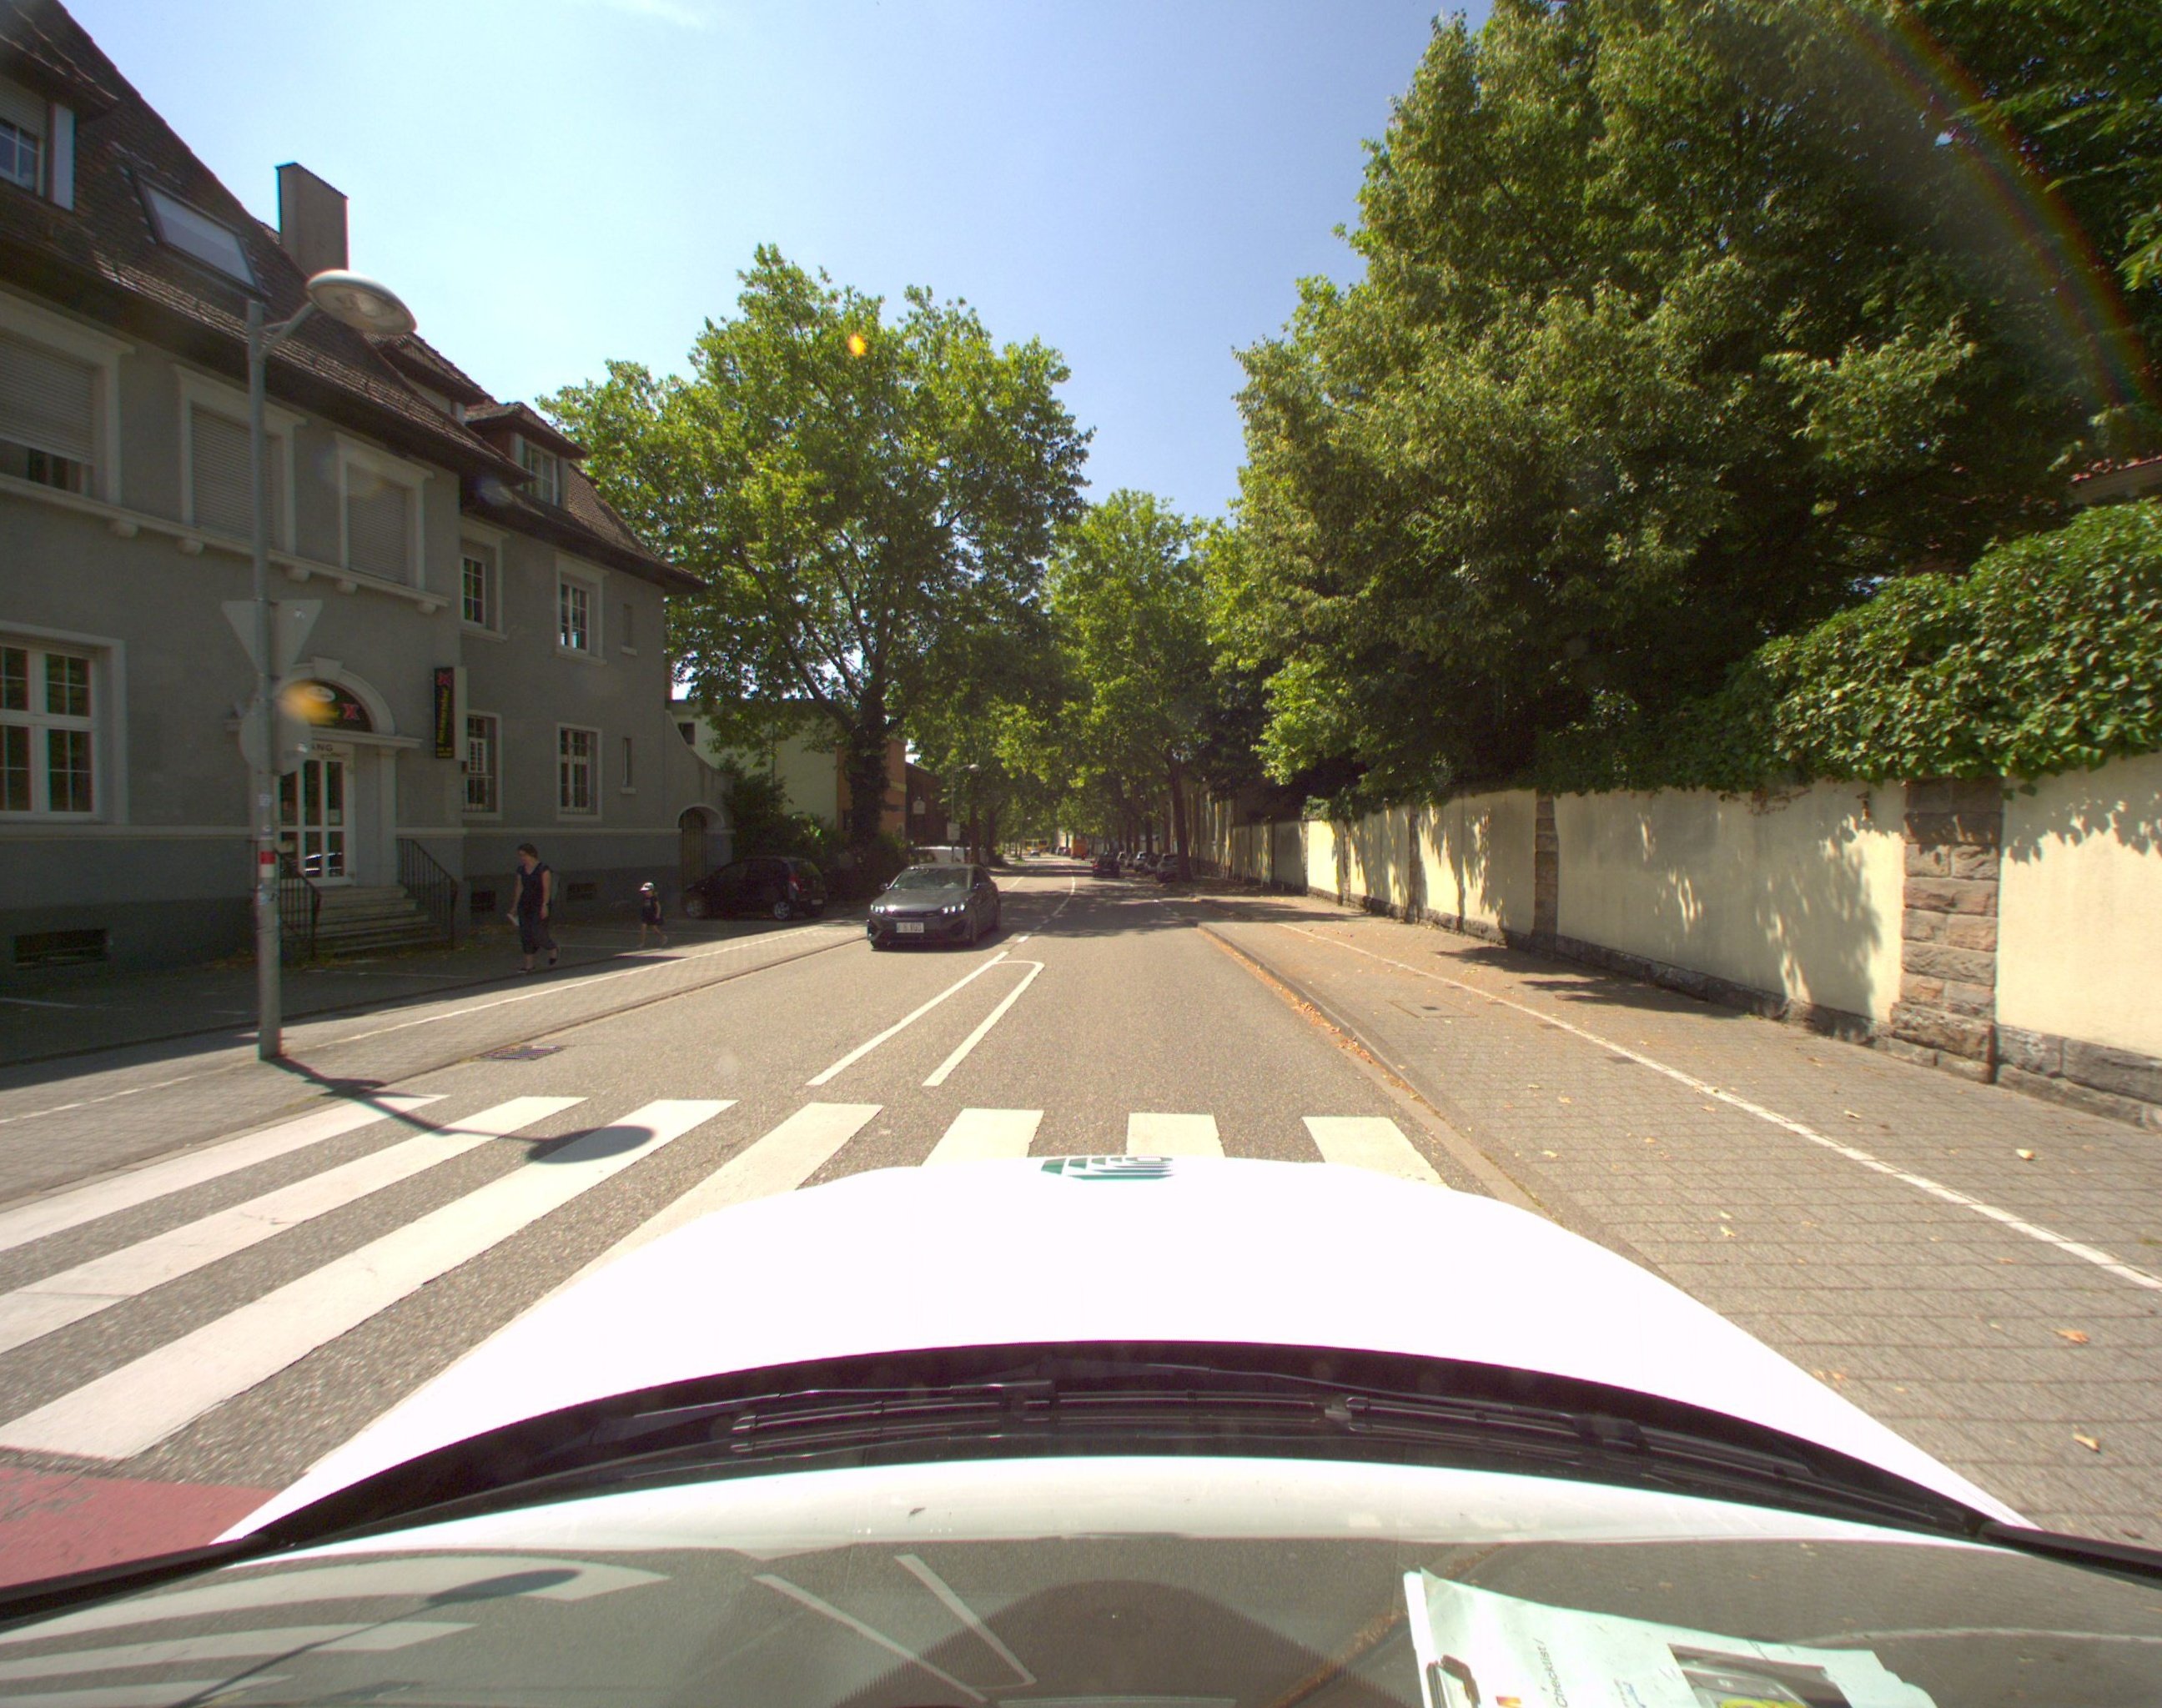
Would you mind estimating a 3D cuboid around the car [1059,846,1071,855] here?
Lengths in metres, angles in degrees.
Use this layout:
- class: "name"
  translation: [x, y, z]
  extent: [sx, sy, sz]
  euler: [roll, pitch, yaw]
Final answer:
- class: "car"
  translation: [-2.996, -0.628, 152.551]
  extent: [1.878, 1.686, 3.989]
  euler: [0, -1, -7]

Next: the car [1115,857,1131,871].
- class: "car"
  translation: [4.782, 1.148, 93.449]
  extent: [1.573, 1.466, 3.873]
  euler: [-1, 0, -1]

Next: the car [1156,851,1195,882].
- class: "car"
  translation: [5.174, 0.645, 45.089]
  extent: [1.735, 1.557, 4.782]
  euler: [-2, 1, 1]

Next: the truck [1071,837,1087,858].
- class: "truck"
  translation: [-0.329, -0.915, 126.425]
  extent: [2.364, 3.134, 5.764]
  euler: [0, -1, -2]

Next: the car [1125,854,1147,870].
- class: "car"
  translation: [5.313, 0.724, 78.929]
  extent: [1.762, 1.433, 3.873]
  euler: [-1, 0, -1]

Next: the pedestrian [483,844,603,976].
- class: "pedestrian"
  translation: [-7.421, 0.739, 11.298]
  extent: [0.867, 1.742, 1.114]
  euler: [0, 0, 6]

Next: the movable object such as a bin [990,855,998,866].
- class: "movable object such as a bin"
  translation: [-8.852, 0.638, 82.740]
  extent: [0.732, 1.078, 0.701]
  euler: [0, 0, -1]

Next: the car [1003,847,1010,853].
- class: "car"
  translation: [-19.317, -0.971, 209.953]
  extent: [1.709, 1.447, 4.048]
  euler: [-1, 0, -7]

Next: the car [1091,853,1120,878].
- class: "car"
  translation: [1.549, 0.719, 52.432]
  extent: [1.706, 1.447, 4.057]
  euler: [0, 1, -1]

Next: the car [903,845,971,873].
- class: "car"
  translation: [-9.948, 0.350, 56.486]
  extent: [4.413, 1.804, 1.901]
  euler: [2, 0, -3]

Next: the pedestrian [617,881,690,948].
- class: "pedestrian"
  translation: [-7.529, 1.046, 14.378]
  extent: [0.750, 1.122, 0.899]
  euler: [0, 0, 6]

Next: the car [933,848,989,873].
- class: "car"
  translation: [-9.469, 0.490, 64.600]
  extent: [4.119, 1.804, 1.901]
  euler: [2, 0, -3]

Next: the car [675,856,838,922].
- class: "car"
  translation: [-8.079, 0.834, 20.423]
  extent: [3.360, 1.546, 1.729]
  euler: [0, 0, 10]

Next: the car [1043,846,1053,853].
- class: "car"
  translation: [-7.325, -0.982, 181.117]
  extent: [1.768, 1.374, 3.714]
  euler: [-1, 0, -12]

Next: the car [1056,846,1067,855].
- class: "car"
  translation: [-3.866, -0.644, 159.672]
  extent: [1.876, 1.686, 3.993]
  euler: [0, -1, -5]

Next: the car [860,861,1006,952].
- class: "car"
  translation: [-2.585, 0.870, 15.299]
  extent: [1.762, 1.426, 4.395]
  euler: [0, 0, 2]

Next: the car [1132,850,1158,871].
- class: "car"
  translation: [5.327, 0.521, 68.148]
  extent: [1.802, 1.689, 4.751]
  euler: [-1, 0, 0]

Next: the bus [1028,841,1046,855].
- class: "bus"
  translation: [-10.846, -1.473, 201.124]
  extent: [2.666, 3.150, 11.150]
  euler: [0, 0, -12]

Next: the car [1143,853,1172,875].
- class: "car"
  translation: [5.287, 0.639, 56.591]
  extent: [1.616, 1.439, 4.432]
  euler: [-1, 0, 0]

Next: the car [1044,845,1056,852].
- class: "car"
  translation: [-6.512, -1.166, 171.805]
  extent: [1.768, 1.374, 3.713]
  euler: [-1, 0, -13]

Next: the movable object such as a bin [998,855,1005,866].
- class: "movable object such as a bin"
  translation: [-8.082, 0.648, 82.803]
  extent: [0.621, 1.048, 0.621]
  euler: [0, 0, 4]

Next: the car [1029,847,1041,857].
- class: "car"
  translation: [-8.521, -0.396, 150.978]
  extent: [1.990, 1.666, 3.992]
  euler: [0, -1, -5]

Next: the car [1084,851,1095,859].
- class: "car"
  translation: [1.554, 0.140, 151.593]
  extent: [1.763, 1.374, 3.724]
  euler: [1, 0, -5]

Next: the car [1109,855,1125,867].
- class: "car"
  translation: [4.698, 0.910, 106.164]
  extent: [1.762, 1.466, 3.873]
  euler: [-1, 0, -1]

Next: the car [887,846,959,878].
- class: "car"
  translation: [-9.548, 0.502, 49.370]
  extent: [3.978, 1.792, 1.866]
  euler: [2, 0, -3]
